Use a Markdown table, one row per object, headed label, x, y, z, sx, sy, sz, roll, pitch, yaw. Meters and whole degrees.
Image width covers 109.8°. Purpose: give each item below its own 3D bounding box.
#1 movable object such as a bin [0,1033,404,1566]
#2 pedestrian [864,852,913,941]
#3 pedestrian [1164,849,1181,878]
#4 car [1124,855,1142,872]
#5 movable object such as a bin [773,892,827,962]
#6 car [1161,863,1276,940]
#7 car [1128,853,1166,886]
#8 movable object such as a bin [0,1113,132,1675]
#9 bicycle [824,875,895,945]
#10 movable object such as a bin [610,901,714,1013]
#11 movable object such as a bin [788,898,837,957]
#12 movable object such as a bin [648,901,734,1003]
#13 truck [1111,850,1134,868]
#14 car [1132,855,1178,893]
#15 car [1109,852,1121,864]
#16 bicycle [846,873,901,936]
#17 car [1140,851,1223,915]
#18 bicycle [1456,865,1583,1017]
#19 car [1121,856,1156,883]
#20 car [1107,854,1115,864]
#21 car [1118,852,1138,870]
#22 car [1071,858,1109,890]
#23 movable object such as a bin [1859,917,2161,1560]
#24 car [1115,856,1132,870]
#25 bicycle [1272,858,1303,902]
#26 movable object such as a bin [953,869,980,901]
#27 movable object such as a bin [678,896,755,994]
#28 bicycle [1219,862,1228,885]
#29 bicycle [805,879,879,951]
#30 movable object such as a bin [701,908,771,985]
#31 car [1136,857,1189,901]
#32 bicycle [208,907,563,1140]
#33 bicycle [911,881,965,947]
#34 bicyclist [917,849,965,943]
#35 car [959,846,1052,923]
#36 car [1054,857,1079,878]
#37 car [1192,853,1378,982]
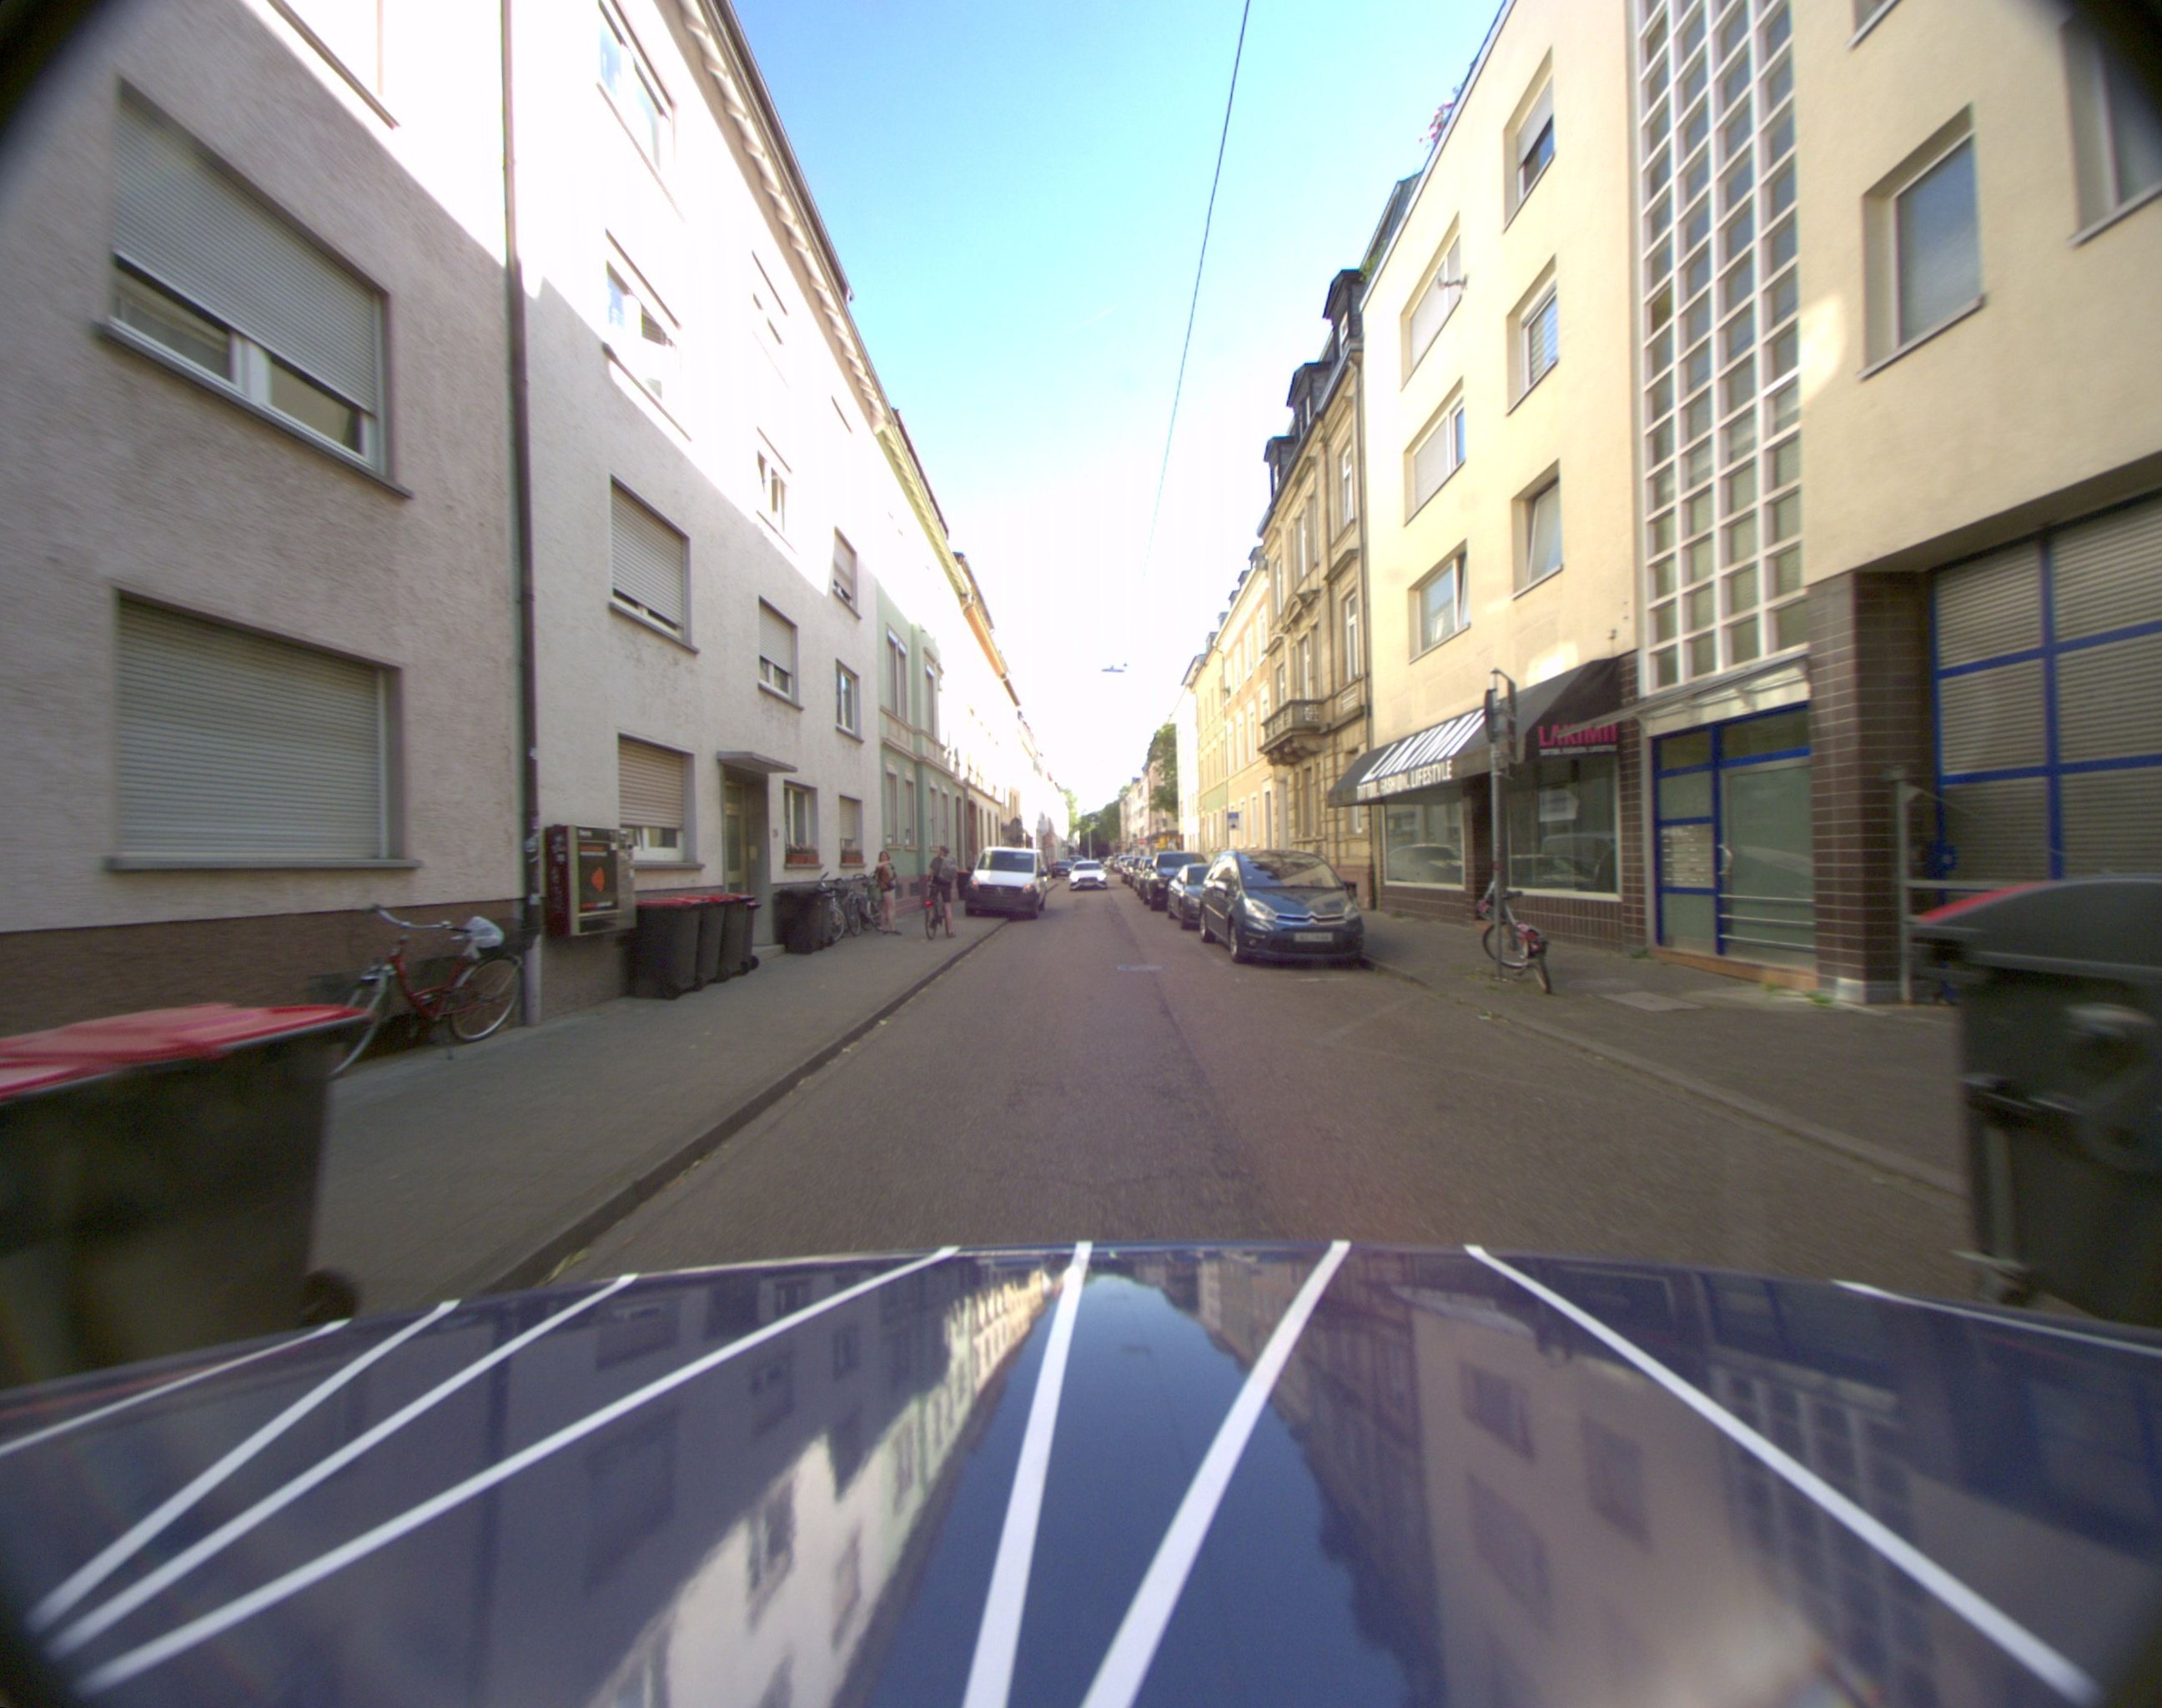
| label | x | y | z | sx | sy | sz | roll | pitch | yaw |
| --- | --- | --- | --- | --- | --- | --- | --- | --- | --- |
| movable object such as a bin | -2.596 | 1.127 | 2.126 | 0.734 | 1.074 | 0.703 | -1 | 1 | 2 |
| pedestrian | -3.781 | 0.820 | 14.993 | 0.656 | 1.701 | 0.687 | -1 | 1 | 13 |
| pedestrian | 5.711 | 0.584 | 47.720 | 0.913 | 1.822 | 1.245 | -1 | 1 | 1 |
| car | 5.068 | 0.919 | 74.617 | 1.671 | 1.551 | 3.722 | -1 | 0 | 2 |
| movable object such as a bin | -4.462 | 1.153 | 12.099 | 0.617 | 1.056 | 0.603 | 1 | 0 | 1 |
| car | 2.988 | 0.968 | 17.494 | 1.850 | 1.409 | 4.817 | 0 | 1 | 1 |
| car | 3.368 | 0.793 | 39.371 | 1.748 | 1.605 | 4.603 | 0 | 0 | 2 |
| movable object such as a bin | -2.602 | 1.142 | 1.412 | 0.769 | 1.080 | 0.693 | -1 | 1 | 2 |
| bicycle | -4.341 | 1.056 | 15.063 | 0.438 | 1.199 | 2.267 | -1 | 1 | 8 |
| movable object such as a bin | -4.471 | 1.084 | 8.153 | 0.740 | 1.091 | 0.640 | 1 | 1 | 2 |
| movable object such as a bin | -4.474 | 1.215 | 12.709 | 0.578 | 0.919 | 0.607 | 1 | 1 | 1 |
| movable object such as a bin | -4.474 | 1.112 | 8.748 | 0.658 | 1.098 | 0.593 | -1 | 0 | 2 |
| truck | 5.306 | 0.600 | 98.202 | 2.171 | 2.295 | 6.345 | 0 | 1 | -4 |
| car | 3.206 | 0.820 | 33.577 | 1.619 | 1.544 | 3.978 | -1 | 0 | 0 |
| car | 6.040 | 0.745 | 136.094 | 1.913 | 2.076 | 4.696 | -1 | 0 | 1 |
| bicycle | -4.437 | 1.042 | 16.401 | 0.406 | 1.199 | 2.160 | -1 | 1 | 4 |
| car | 2.947 | 0.782 | 23.293 | 1.941 | 1.726 | 5.142 | 0 | 0 | 1 |
| bicycle | 4.629 | 0.850 | 8.149 | 0.466 | 1.324 | 1.855 | -5 | 2 | 9 |
| car | 3.345 | 0.867 | 45.232 | 1.718 | 1.480 | 4.852 | 1 | 0 | 0 |
| car | 6.106 | 0.986 | 155.795 | 1.585 | 1.971 | 4.068 | -1 | 1 | 1 |
| car | 4.982 | 0.741 | 80.837 | 1.771 | 1.887 | 4.809 | 1 | 0 | 0 |
| car | 0.472 | 0.974 | 38.030 | 1.761 | 1.399 | 4.022 | -1 | 1 | 1 |
| movable object such as a bin | 3.197 | 0.934 | 1.866 | 1.322 | 1.442 | 1.187 | 0 | 1 | 1 |
| car | 4.845 | 1.048 | 86.843 | 1.669 | 1.514 | 4.489 | 1 | 0 | 0 |
| bicycle | 6.293 | 0.772 | 23.208 | 0.511 | 1.269 | 1.867 | -1 | 1 | 2 |
| movable object such as a bin | -4.113 | 1.105 | 27.226 | 0.814 | 1.082 | 0.674 | -1 | 1 | 3 |
| movable object such as a bin | -4.450 | 1.102 | 9.310 | 0.629 | 1.116 | 0.569 | -1 | 1 | 2 |
| bicycle | 6.842 | 0.917 | 36.499 | 0.361 | 1.023 | 1.918 | -1 | 1 | 11 |
| bicycle | -4.350 | 1.077 | 13.973 | 0.570 | 1.147 | 1.868 | -1 | 1 | 6 |
| movable object such as a bin | -4.501 | 1.201 | 9.946 | 0.607 | 0.929 | 0.605 | -1 | 0 | 2 |
| car | 3.014 | 0.874 | 28.813 | 1.717 | 1.522 | 4.367 | 0 | 0 | 3 |
| bicycle | -4.666 | 1.039 | 5.361 | 0.538 | 1.163 | 2.076 | 3 | 0 | 1 |
| bicycle | -2.742 | 1.118 | 14.740 | 0.665 | 1.130 | 1.988 | 2 | -1 | -1 |
| bicyclist | -2.705 | 0.794 | 14.743 | 0.762 | 1.760 | 0.822 | 1 | 0 | -1 |
| car | -2.028 | 0.785 | 22.147 | 1.988 | 1.873 | 5.599 | 2 | 0 | 1 |
| car | -1.105 | 1.026 | 60.461 | 1.805 | 1.570 | 4.897 | -2 | 0 | 1 |
| car | 2.969 | 0.817 | 12.110 | 1.787 | 1.657 | 4.670 | 0 | 0 | 1 |
